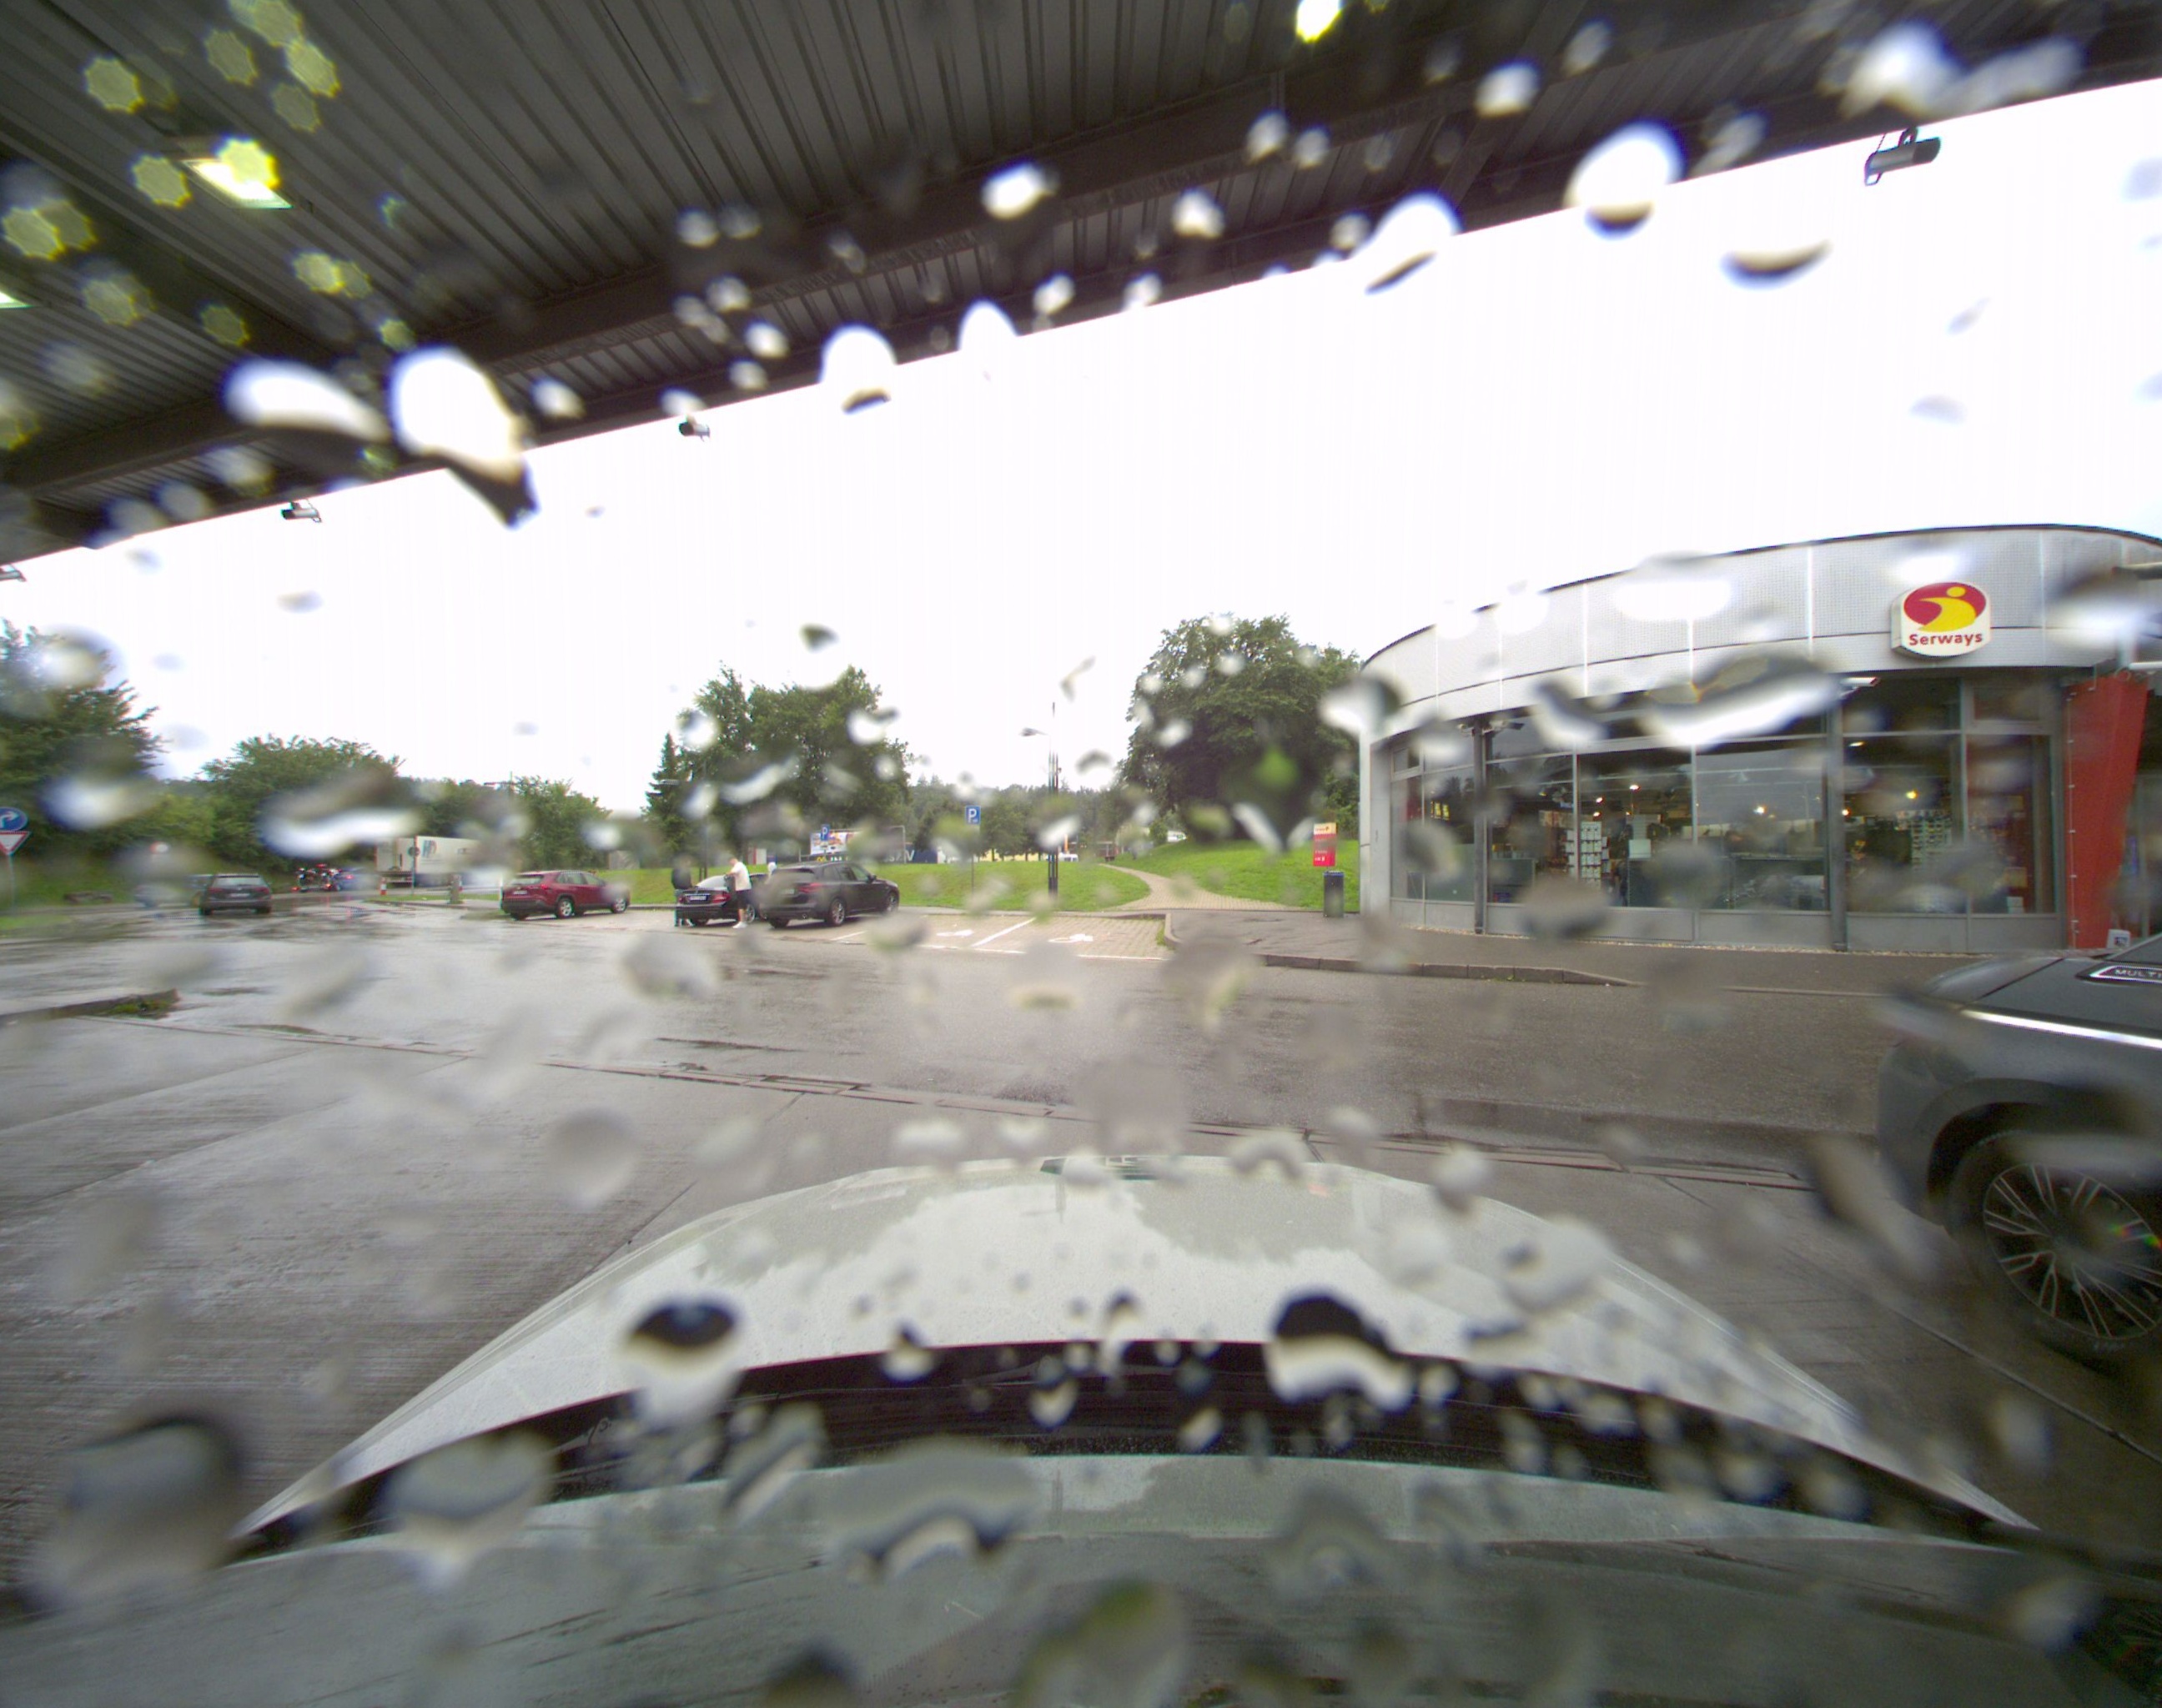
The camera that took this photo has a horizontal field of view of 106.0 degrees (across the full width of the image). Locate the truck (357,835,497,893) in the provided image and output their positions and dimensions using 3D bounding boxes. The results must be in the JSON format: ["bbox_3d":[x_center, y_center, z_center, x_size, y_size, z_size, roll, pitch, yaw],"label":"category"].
[{"bbox_3d":[-55.437,0.847,69.966,3.550,4.340,16.899,0,-1,-18],"label":"truck"}]

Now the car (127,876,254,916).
[{"bbox_3d":[-40.194,1.847,36.909,1.771,1.628,3.987,-1,-1,-9],"label":"car"}]

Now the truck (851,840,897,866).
[{"bbox_3d":[-24.178,-0.080,95.445,2.165,2.920,5.419,-1,-1,27],"label":"truck"}]

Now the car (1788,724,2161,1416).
[{"bbox_3d":[3.684,0.544,0.668,1.854,1.798,5.142,0,-1,2],"label":"car"}]

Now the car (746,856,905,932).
[{"bbox_3d":[-6.639,0.974,21.770,2.002,1.711,4.360,-2,0,14],"label":"car"}]

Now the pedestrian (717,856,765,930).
[{"bbox_3d":[-8.903,1.006,21.337,0.946,1.887,0.705,0,-1,5],"label":"pedestrian"}]

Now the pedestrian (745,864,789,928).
[{"bbox_3d":[-8.353,1.093,21.663,0.958,1.631,0.696,0,-1,-38],"label":"pedestrian"}]

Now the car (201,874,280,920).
[{"bbox_3d":[-33.937,1.695,32.855,3.949,1.678,2.012,-2,-1,41],"label":"car"}]

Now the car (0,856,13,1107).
[{"bbox_3d":[-7.958,0.805,2.666,1.854,1.608,5.273,0,-1,2],"label":"car"}]

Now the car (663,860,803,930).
[{"bbox_3d":[-9.825,1.085,23.414,2.010,1.711,4.344,-2,0,1],"label":"car"}]

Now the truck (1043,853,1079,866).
[{"bbox_3d":[-3.242,0.884,134.095,5.356,2.014,2.381,-1,-1,26],"label":"truck"}]

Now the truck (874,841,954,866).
[{"bbox_3d":[-20.745,-0.049,102.336,2.165,2.920,13.175,-1,-1,26],"label":"truck"}]

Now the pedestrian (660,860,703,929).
[{"bbox_3d":[-11.072,1.100,22.584,0.882,1.887,0.708,-1,-1,34],"label":"pedestrian"}]

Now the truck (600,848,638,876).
[{"bbox_3d":[-52.462,0.913,92.319,2.498,3.085,7.270,0,-1,-40],"label":"truck"}]

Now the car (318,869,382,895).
[{"bbox_3d":[-50.335,1.886,56.162,1.814,1.681,3.927,0,-1,-18],"label":"car"}]

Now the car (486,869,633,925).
[{"bbox_3d":[-18.128,1.445,28.582,1.928,1.644,4.352,-2,0,7],"label":"car"}]
